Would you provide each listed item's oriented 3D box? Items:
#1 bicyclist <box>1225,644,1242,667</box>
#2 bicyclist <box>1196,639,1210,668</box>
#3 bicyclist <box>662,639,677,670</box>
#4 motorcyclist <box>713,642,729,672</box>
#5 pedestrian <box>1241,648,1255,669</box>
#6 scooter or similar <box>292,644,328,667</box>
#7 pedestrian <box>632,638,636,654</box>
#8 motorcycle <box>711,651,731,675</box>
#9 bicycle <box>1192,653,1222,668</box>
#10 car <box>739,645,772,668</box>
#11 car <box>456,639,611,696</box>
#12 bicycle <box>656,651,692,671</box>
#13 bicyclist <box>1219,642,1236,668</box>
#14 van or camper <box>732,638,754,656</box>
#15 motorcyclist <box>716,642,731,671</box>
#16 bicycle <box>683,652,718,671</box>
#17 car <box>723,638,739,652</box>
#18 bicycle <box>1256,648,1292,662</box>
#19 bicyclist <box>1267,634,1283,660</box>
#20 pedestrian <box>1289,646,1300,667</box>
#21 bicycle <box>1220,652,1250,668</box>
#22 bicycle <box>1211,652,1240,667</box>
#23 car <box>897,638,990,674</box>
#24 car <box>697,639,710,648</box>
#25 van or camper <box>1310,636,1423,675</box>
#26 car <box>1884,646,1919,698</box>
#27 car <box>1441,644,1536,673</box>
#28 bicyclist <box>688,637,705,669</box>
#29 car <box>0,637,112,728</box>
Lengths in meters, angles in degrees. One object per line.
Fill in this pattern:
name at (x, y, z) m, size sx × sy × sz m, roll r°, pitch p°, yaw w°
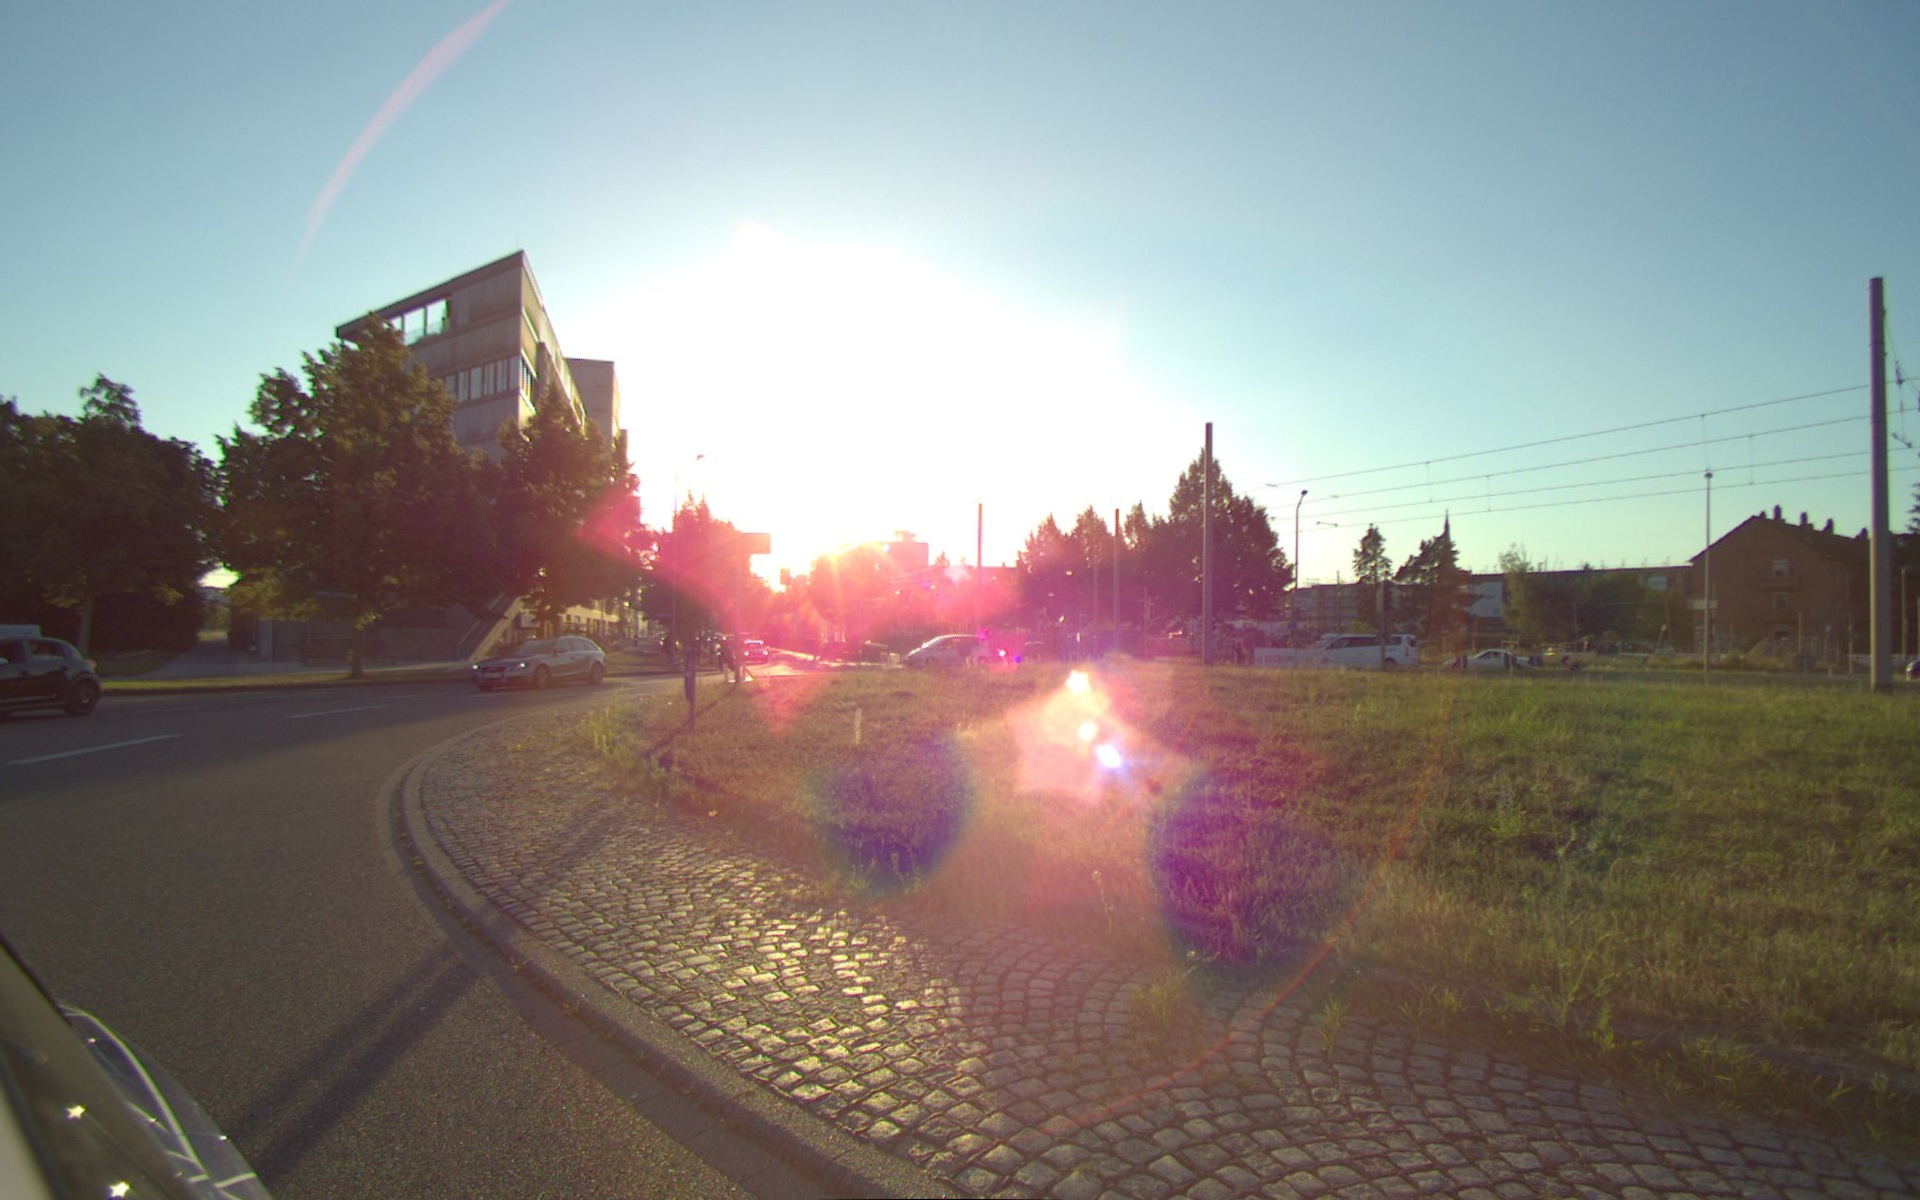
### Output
bicyclist at (17.544, 3.556, 64.917) m, size 0.801 × 1.517 × 0.594 m, roll 1°, pitch -3°, yaw -13°
bicyclist at (16.181, 3.539, 67.298) m, size 0.667 × 1.933 × 0.617 m, roll 1°, pitch -3°, yaw -13°
bicyclist at (-15.648, 2.920, 54.477) m, size 0.672 × 1.661 × 0.686 m, roll 1°, pitch -3°, yaw -26°
motorcyclist at (-11.652, 2.755, 49.263) m, size 0.627 × 1.427 × 0.715 m, roll 0°, pitch -2°, yaw -2°
pedestrian at (19.091, 3.870, 67.038) m, size 0.609 × 1.377 × 0.696 m, roll 1°, pitch -3°, yaw -13°
scooter or similar at (-34.012, 2.899, 52.973) m, size 1.553 × 1.229 × 0.367 m, roll 0°, pitch -3°, yaw -6°
pedestrian at (-40.758, 5.706, 126.517) m, size 0.529 × 2.029 × 0.529 m, roll 1°, pitch -3°, yaw -17°
motorcycle at (-11.677, 3.049, 49.530) m, size 0.550 × 1.109 × 2.161 m, roll 0°, pitch -2°, yaw -3°
bicycle at (16.434, 4.024, 67.326) m, size 1.813 × 0.988 × 0.551 m, roll 1°, pitch -3°, yaw -13°
car at (-14.413, 3.952, 71.514) m, size 1.863 × 1.492 × 4.056 m, roll 0°, pitch -2°, yaw -6°
car at (-11.544, 1.797, 27.749) m, size 1.783 × 1.434 × 4.434 m, roll 0°, pitch -3°, yaw 10°
bicycle at (-15.384, 3.278, 54.374) m, size 1.831 × 1.030 × 0.309 m, roll 1°, pitch -3°, yaw -26°
bicyclist at (17.407, 3.554, 65.840) m, size 0.801 × 1.653 × 0.817 m, roll 1°, pitch -3°, yaw -13°
van or camper at (-25.548, 5.500, 119.123) m, size 1.966 × 1.972 × 5.344 m, roll 1°, pitch -2°, yaw -17°
motorcyclist at (-11.675, 2.789, 49.922) m, size 0.627 × 1.419 × 0.594 m, roll 0°, pitch -2°, yaw -2°
bicycle at (-14.542, 3.456, 56.689) m, size 1.833 × 1.030 × 0.438 m, roll 0°, pitch -3°, yaw -9°
car at (-31.827, 6.213, 140.549) m, size 1.690 × 1.852 × 4.012 m, roll 1°, pitch -2°, yaw -20°
bicycle at (20.123, 3.535, 64.837) m, size 2.129 × 0.852 × 0.506 m, roll -2°, pitch -3°, yaw 33°
bicyclist at (20.127, 3.007, 64.718) m, size 0.796 × 1.646 × 0.688 m, roll -2°, pitch -3°, yaw 33°
pedestrian at (21.812, 3.665, 66.014) m, size 0.503 × 1.377 × 0.428 m, roll -2°, pitch -4°, yaw 43°
bicycle at (17.624, 3.850, 64.936) m, size 1.813 × 0.988 × 0.538 m, roll 1°, pitch -3°, yaw -12°
bicycle at (17.280, 3.867, 65.884) m, size 1.813 × 0.988 × 0.551 m, roll 1°, pitch -3°, yaw -12°
car at (-0.703, 2.382, 43.168) m, size 3.646 × 1.477 × 1.612 m, roll 1°, pitch -3°, yaw -26°
car at (-41.560, 7.047, 163.865) m, size 1.772 × 1.475 × 4.011 m, roll 1°, pitch -3°, yaw -17°
van or camper at (21.873, 2.995, 54.576) m, size 5.299 × 2.025 × 1.889 m, roll -3°, pitch -4°, yaw 41°
car at (34.083, 2.415, 33.680) m, size 1.722 × 1.761 × 4.610 m, roll 2°, pitch -3°, yaw -33°
car at (24.772, 2.754, 47.466) m, size 3.770 × 1.265 × 1.561 m, roll -3°, pitch -2°, yaw 34°
bicyclist at (-14.680, 2.929, 56.365) m, size 0.835 × 1.769 × 0.806 m, roll 0°, pitch -3°, yaw -9°
car at (-16.497, 1.352, 16.688) m, size 1.777 × 1.475 × 4.002 m, roll 0°, pitch -3°, yaw -3°
